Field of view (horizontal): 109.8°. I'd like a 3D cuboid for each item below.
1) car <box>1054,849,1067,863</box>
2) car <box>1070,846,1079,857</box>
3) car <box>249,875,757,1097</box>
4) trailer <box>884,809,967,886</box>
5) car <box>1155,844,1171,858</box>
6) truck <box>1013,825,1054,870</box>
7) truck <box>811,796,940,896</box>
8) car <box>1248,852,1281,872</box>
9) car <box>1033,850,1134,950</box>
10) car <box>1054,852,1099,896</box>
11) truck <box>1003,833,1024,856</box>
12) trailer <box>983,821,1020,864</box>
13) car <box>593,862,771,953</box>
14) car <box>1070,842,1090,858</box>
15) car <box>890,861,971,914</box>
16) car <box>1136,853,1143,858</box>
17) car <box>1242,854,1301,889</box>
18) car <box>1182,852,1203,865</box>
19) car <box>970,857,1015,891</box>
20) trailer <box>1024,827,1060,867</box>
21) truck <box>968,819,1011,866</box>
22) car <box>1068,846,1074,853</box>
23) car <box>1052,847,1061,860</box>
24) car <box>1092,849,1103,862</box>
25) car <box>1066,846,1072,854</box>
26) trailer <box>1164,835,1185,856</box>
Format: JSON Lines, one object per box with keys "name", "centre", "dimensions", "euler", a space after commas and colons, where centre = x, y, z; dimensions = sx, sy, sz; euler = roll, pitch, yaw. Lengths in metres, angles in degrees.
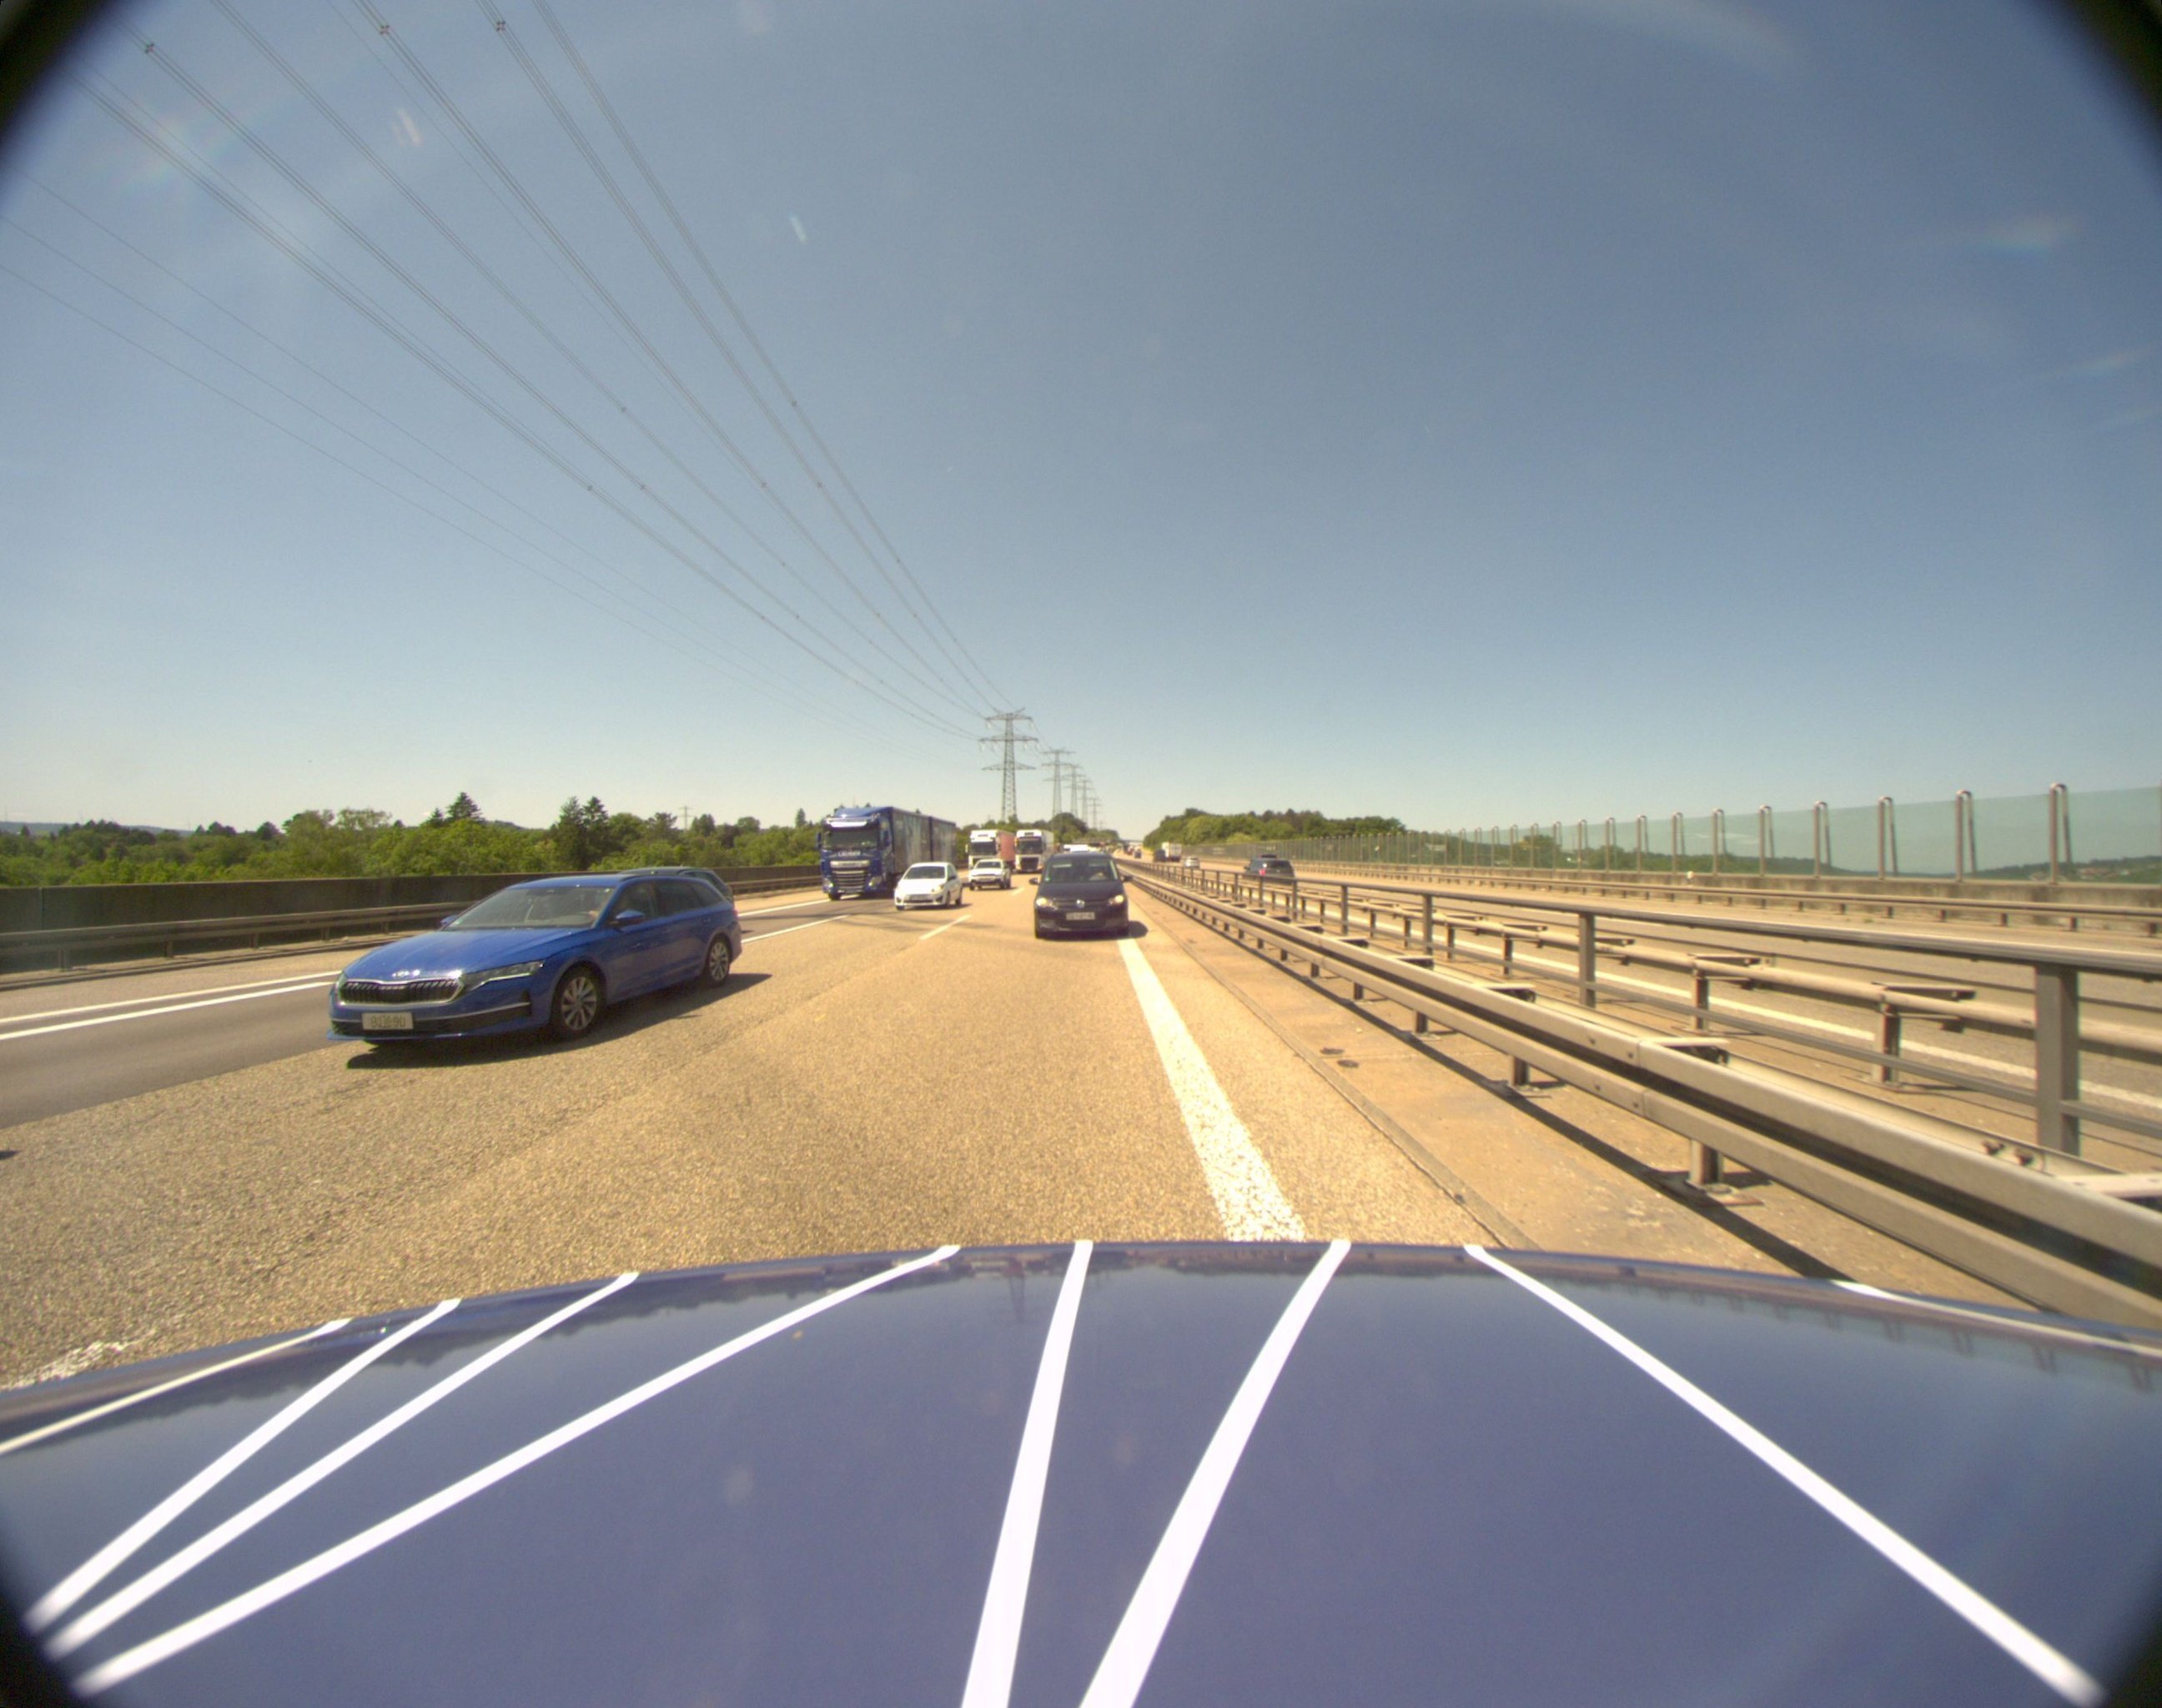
{"name": "car", "centre": [-3.127, 0.319, 117.408], "dimensions": [1.704, 2.116, 4.000], "euler": [2, 1, 1]}
{"name": "car", "centre": [-1.421, -0.515, 161.679], "dimensions": [1.704, 2.116, 4.000], "euler": [2, 1, 1]}
{"name": "car", "centre": [-5.312, 1.056, 7.983], "dimensions": [1.712, 1.443, 4.563], "euler": [-2, 1, 1]}
{"name": "trailer", "centre": [-9.027, -0.406, 45.162], "dimensions": [2.835, 4.065, 8.637], "euler": [-2, 1, 1]}
{"name": "car", "centre": [15.310, -0.562, 141.971], "dimensions": [1.999, 2.567, 6.649], "euler": [1, 1, -1]}
{"name": "truck", "centre": [-4.289, -0.624, 70.917], "dimensions": [2.849, 3.804, 8.265], "euler": [-2, 1, 2]}
{"name": "truck", "centre": [-9.193, -0.377, 35.621], "dimensions": [2.859, 3.927, 10.393], "euler": [-2, 1, 1]}
{"name": "car", "centre": [18.052, 0.777, 75.090], "dimensions": [1.962, 1.894, 4.949], "euler": [1, 1, -1]}
{"name": "car", "centre": [0.052, 0.801, 15.272], "dimensions": [1.713, 1.669, 3.931], "euler": [-2, 1, 0]}
{"name": "car", "centre": [-0.147, 0.782, 31.901], "dimensions": [1.713, 1.669, 3.931], "euler": [-2, 1, 0]}
{"name": "truck", "centre": [-8.881, -1.249, 100.244], "dimensions": [2.251, 2.965, 6.242], "euler": [2, 1, -1]}
{"name": "trailer", "centre": [-8.069, -1.181, 78.194], "dimensions": [2.608, 4.094, 9.083], "euler": [-2, 1, 0]}
{"name": "car", "centre": [-8.735, 1.080, 17.093], "dimensions": [1.712, 1.645, 4.117], "euler": [-2, 1, 1]}
{"name": "car", "centre": [-0.070, -0.448, 77.481], "dimensions": [1.924, 1.501, 3.996], "euler": [-2, 1, 1]}
{"name": "car", "centre": [-4.827, 1.023, 24.998], "dimensions": [1.712, 1.443, 4.144], "euler": [-2, 1, 1]}
{"name": "car", "centre": [16.418, 0.369, 213.598], "dimensions": [1.777, 1.483, 4.605], "euler": [0, 0, 1]}
{"name": "car", "centre": [8.863, 0.779, 35.702], "dimensions": [1.766, 1.499, 4.223], "euler": [0, 0, 1]}
{"name": "car", "centre": [13.938, 0.581, 94.821], "dimensions": [1.998, 1.535, 4.385], "euler": [1, 1, 1]}
{"name": "car", "centre": [-4.474, 0.983, 39.014], "dimensions": [1.712, 1.501, 4.144], "euler": [-2, 1, 1]}
{"name": "trailer", "centre": [-3.945, -0.716, 79.642], "dimensions": [2.822, 3.830, 9.085], "euler": [-2, 1, 2]}
{"name": "truck", "centre": [-8.239, -1.029, 69.463], "dimensions": [2.608, 3.964, 8.264], "euler": [-2, 1, 1]}
{"name": "car", "centre": [-3.246, -1.349, 245.299], "dimensions": [1.704, 2.116, 4.000], "euler": [2, 1, 1]}
{"name": "car", "centre": [-5.043, -0.135, 156.549], "dimensions": [1.704, 2.525, 4.000], "euler": [2, 1, 1]}
{"name": "car", "centre": [2.743, 0.250, 127.629], "dimensions": [1.704, 2.116, 4.000], "euler": [-2, 1, 1]}
{"name": "car", "centre": [-3.371, -1.056, 212.751], "dimensions": [1.704, 2.116, 4.000], "euler": [2, 1, 1]}
{"name": "trailer", "centre": [19.201, -1.776, 156.881], "dimensions": [2.913, 4.282, 13.661], "euler": [1, 1, 2]}
